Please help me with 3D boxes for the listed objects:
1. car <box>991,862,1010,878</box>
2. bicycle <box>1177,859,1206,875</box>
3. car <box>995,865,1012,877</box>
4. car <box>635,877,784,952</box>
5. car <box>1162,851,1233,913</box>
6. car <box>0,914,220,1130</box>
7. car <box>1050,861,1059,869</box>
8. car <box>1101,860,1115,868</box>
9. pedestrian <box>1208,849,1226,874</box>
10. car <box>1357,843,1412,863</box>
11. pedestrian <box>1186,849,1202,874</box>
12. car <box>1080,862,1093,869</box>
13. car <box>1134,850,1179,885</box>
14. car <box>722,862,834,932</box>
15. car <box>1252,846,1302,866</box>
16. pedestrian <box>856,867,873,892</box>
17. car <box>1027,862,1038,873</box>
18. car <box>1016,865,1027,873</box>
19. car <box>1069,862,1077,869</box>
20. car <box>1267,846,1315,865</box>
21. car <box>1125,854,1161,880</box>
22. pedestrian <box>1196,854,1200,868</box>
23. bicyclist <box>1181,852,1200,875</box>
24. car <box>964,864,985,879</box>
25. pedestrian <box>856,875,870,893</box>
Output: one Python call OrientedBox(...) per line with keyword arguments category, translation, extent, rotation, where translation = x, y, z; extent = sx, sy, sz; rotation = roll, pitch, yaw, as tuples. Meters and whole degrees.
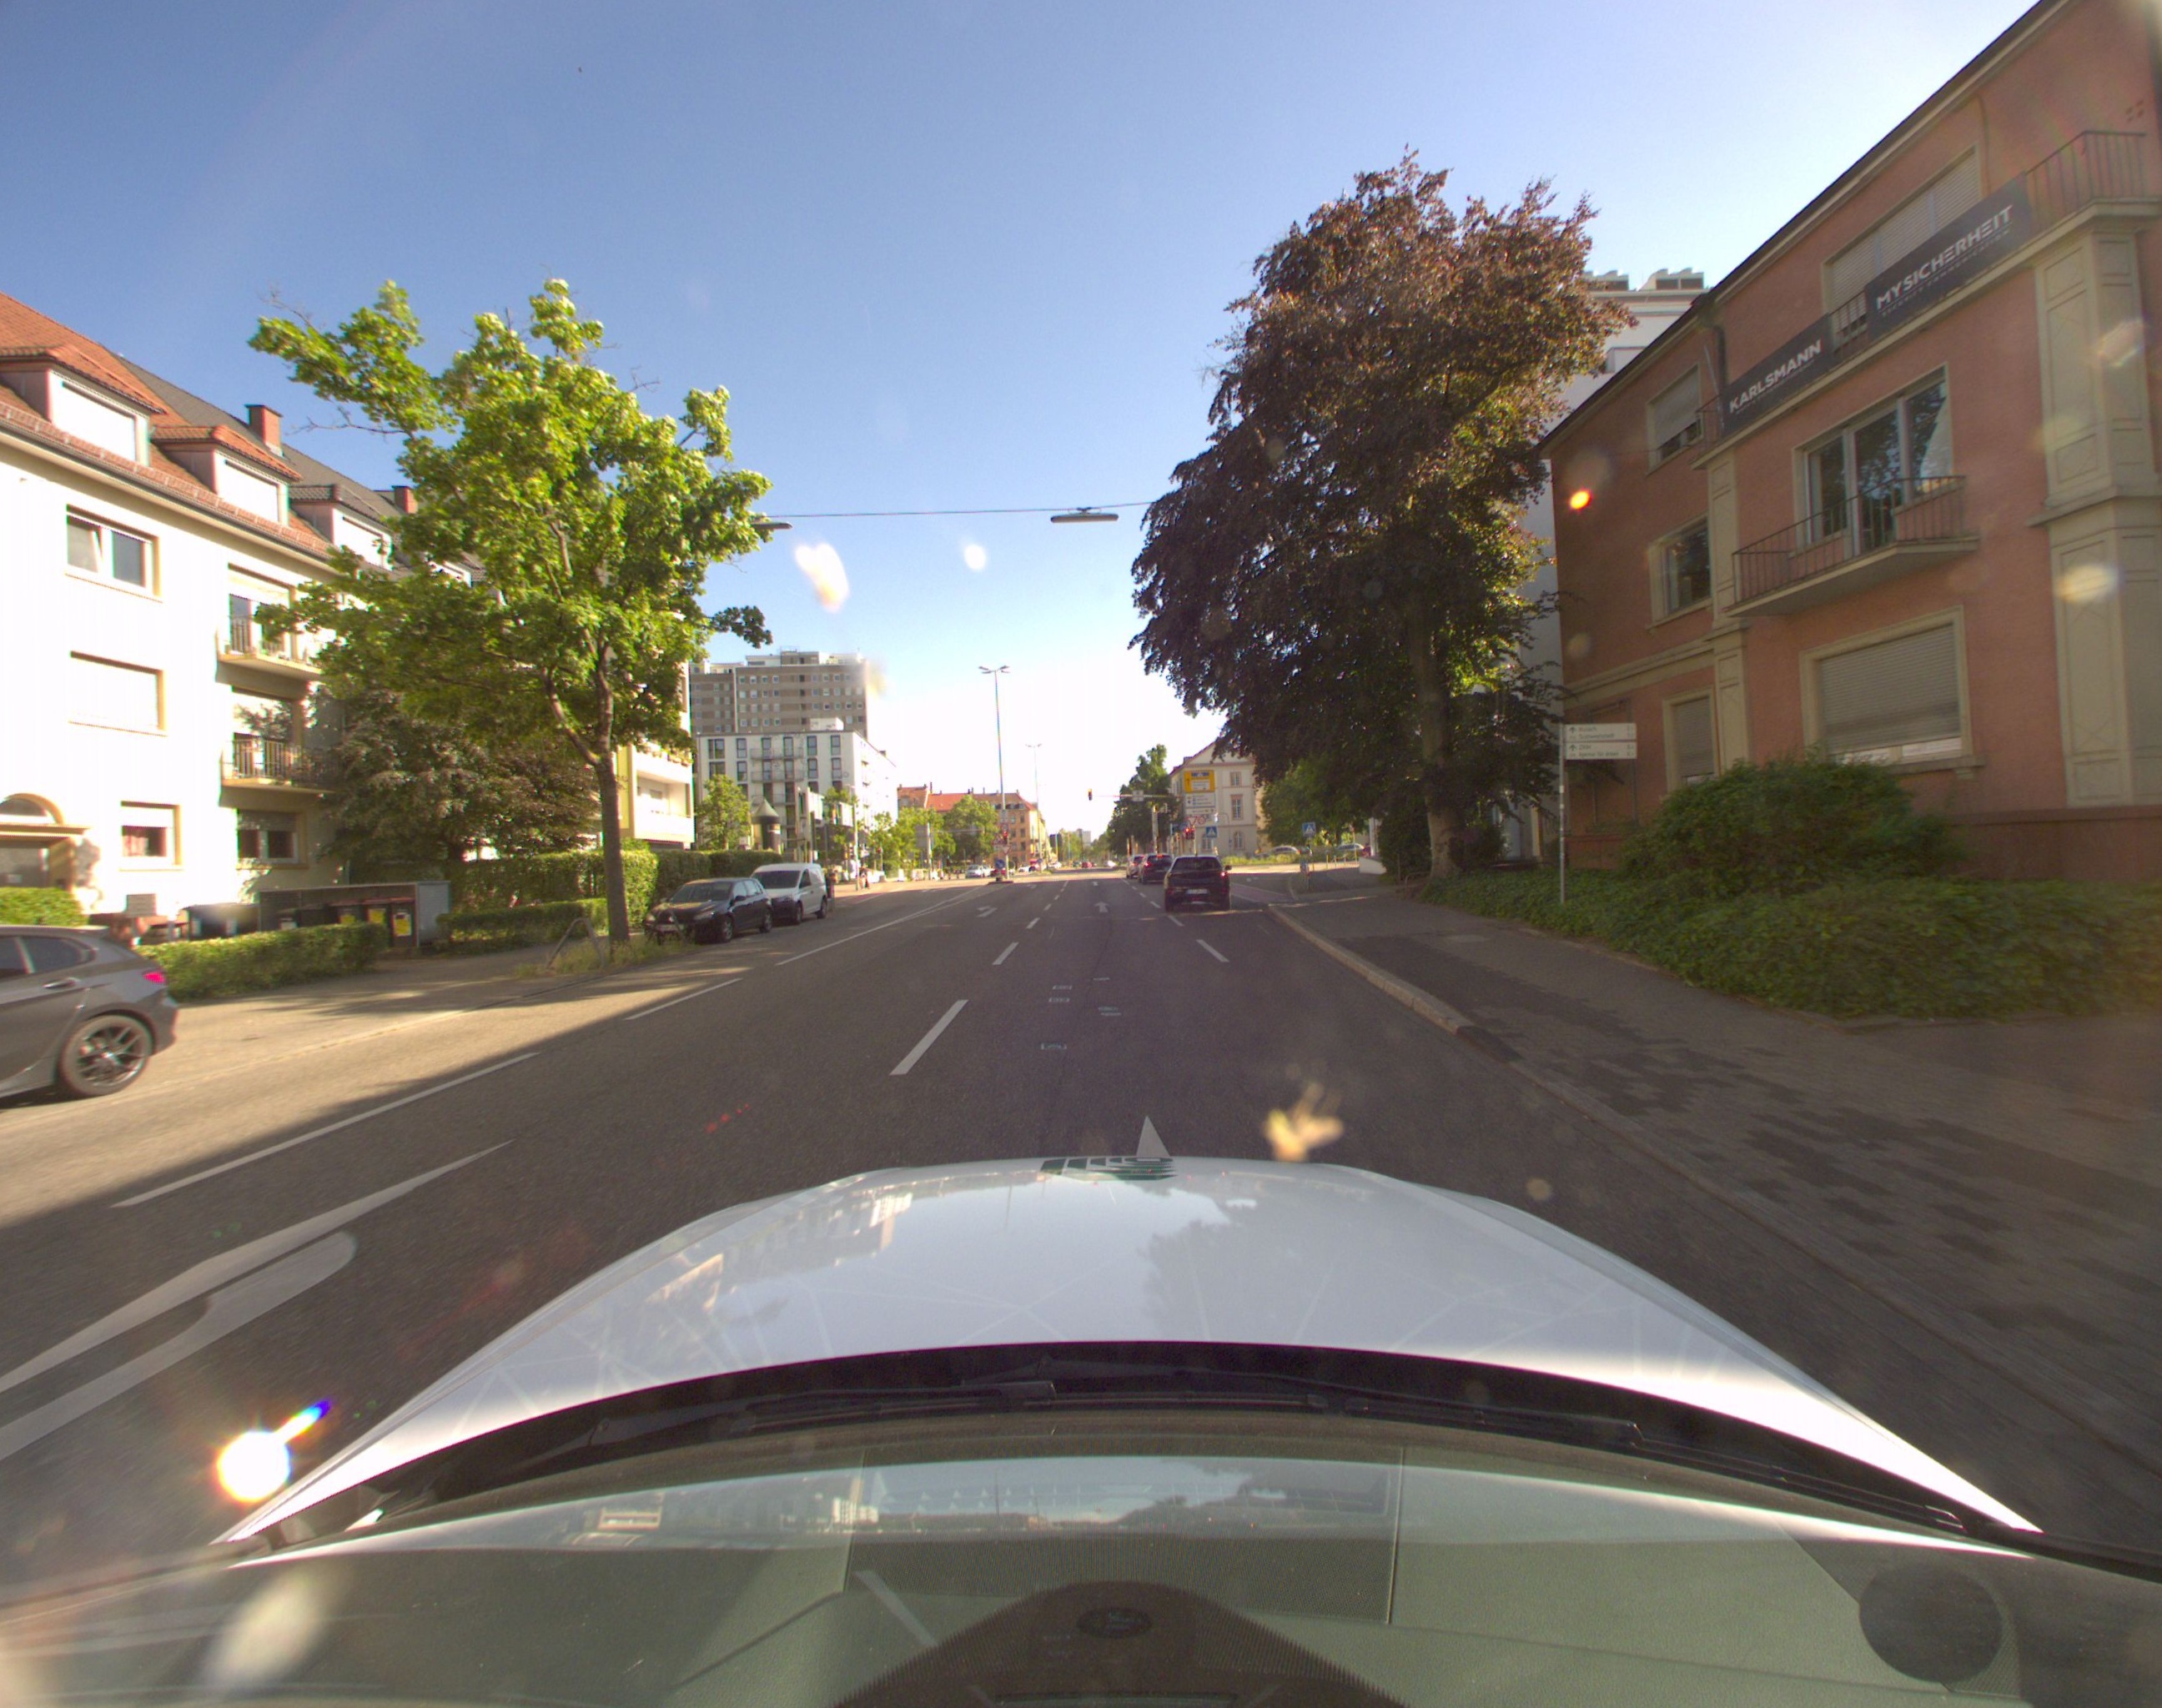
OrientedBox(category="car", translation=(-9.278, 1.804, 93.874), extent=(1.785, 1.617, 3.999), rotation=(-3, 0, 0))
OrientedBox(category="bicycle", translation=(7.998, 0.939, 59.133), extent=(2.040, 1.061, 0.617), rotation=(-2, 0, -23))
OrientedBox(category="car", translation=(-10.464, 2.259, 110.475), extent=(1.869, 1.448, 3.998), rotation=(-3, 0, -1))
OrientedBox(category="car", translation=(-8.832, 1.367, 19.760), extent=(1.666, 1.456, 4.110), rotation=(-3, 0, 0))
OrientedBox(category="car", translation=(3.348, 0.743, 22.909), extent=(1.734, 1.574, 3.569), rotation=(-2, 0, 11))
OrientedBox(category="car", translation=(-8.493, 1.279, 5.082), extent=(1.764, 1.408, 4.359), rotation=(-2, 0, -4))
OrientedBox(category="car", translation=(-5.785, 2.372, 179.402), extent=(1.805, 1.634, 3.998), rotation=(-3, 0, -1))
OrientedBox(category="car", translation=(6.512, 2.308, 195.867), extent=(2.156, 1.698, 4.022), rotation=(-3, 0, 23))
OrientedBox(category="pedestrian", translation=(9.571, 0.523, 57.509), extent=(1.038, 1.660, 0.783), rotation=(-3, 0, -2))
OrientedBox(category="car", translation=(25.262, -0.083, 67.916), extent=(3.870, 1.452, 1.773), rotation=(-3, 0, -8))
OrientedBox(category="pedestrian", translation=(7.855, 0.552, 56.717), extent=(0.825, 1.702, 0.916), rotation=(-2, 0, -6))
OrientedBox(category="car", translation=(1.236, 2.479, 181.079), extent=(1.796, 1.407, 4.017), rotation=(-3, 0, 16))
OrientedBox(category="car", translation=(3.778, 0.648, 41.433), extent=(1.824, 1.578, 3.838), rotation=(-3, 0, 0))
OrientedBox(category="car", translation=(-9.084, 1.212, 24.859), extent=(1.814, 1.834, 4.557), rotation=(-2, 0, -3))
OrientedBox(category="car", translation=(18.253, 0.167, 75.956), extent=(4.111, 1.601, 1.817), rotation=(-3, 0, -8))
OrientedBox(category="pedestrian", translation=(-14.714, 1.747, 55.446), extent=(0.837, 1.649, 0.668), rotation=(-2, -1, -45))
OrientedBox(category="car", translation=(-9.581, 2.637, 160.346), extent=(1.805, 2.134, 3.998), rotation=(-3, 0, -1))
OrientedBox(category="car", translation=(-12.130, 3.059, 166.695), extent=(1.869, 1.448, 3.998), rotation=(-3, 0, -1))
OrientedBox(category="car", translation=(-2.031, 2.765, 200.003), extent=(1.805, 1.634, 3.998), rotation=(-3, 0, -1))
OrientedBox(category="car", translation=(20.529, 0.140, 79.549), extent=(4.111, 1.601, 1.817), rotation=(-3, 0, -8))
OrientedBox(category="car", translation=(3.728, 0.749, 49.728), extent=(1.824, 1.452, 3.987), rotation=(-3, 0, 0))
OrientedBox(category="pedestrian", translation=(14.195, 0.859, 98.943), extent=(0.438, 1.615, 0.468), rotation=(0, -1, 5))
OrientedBox(category="bicyclist", translation=(7.936, 0.685, 59.074), extent=(1.170, 1.633, 0.724), rotation=(-2, 0, -22))
OrientedBox(category="car", translation=(-12.479, 2.054, 95.544), extent=(1.869, 1.617, 3.998), rotation=(-3, 0, -1))
OrientedBox(category="pedestrian", translation=(-14.532, 1.994, 54.346), extent=(0.666, 1.166, 0.669), rotation=(-2, -1, -34))
